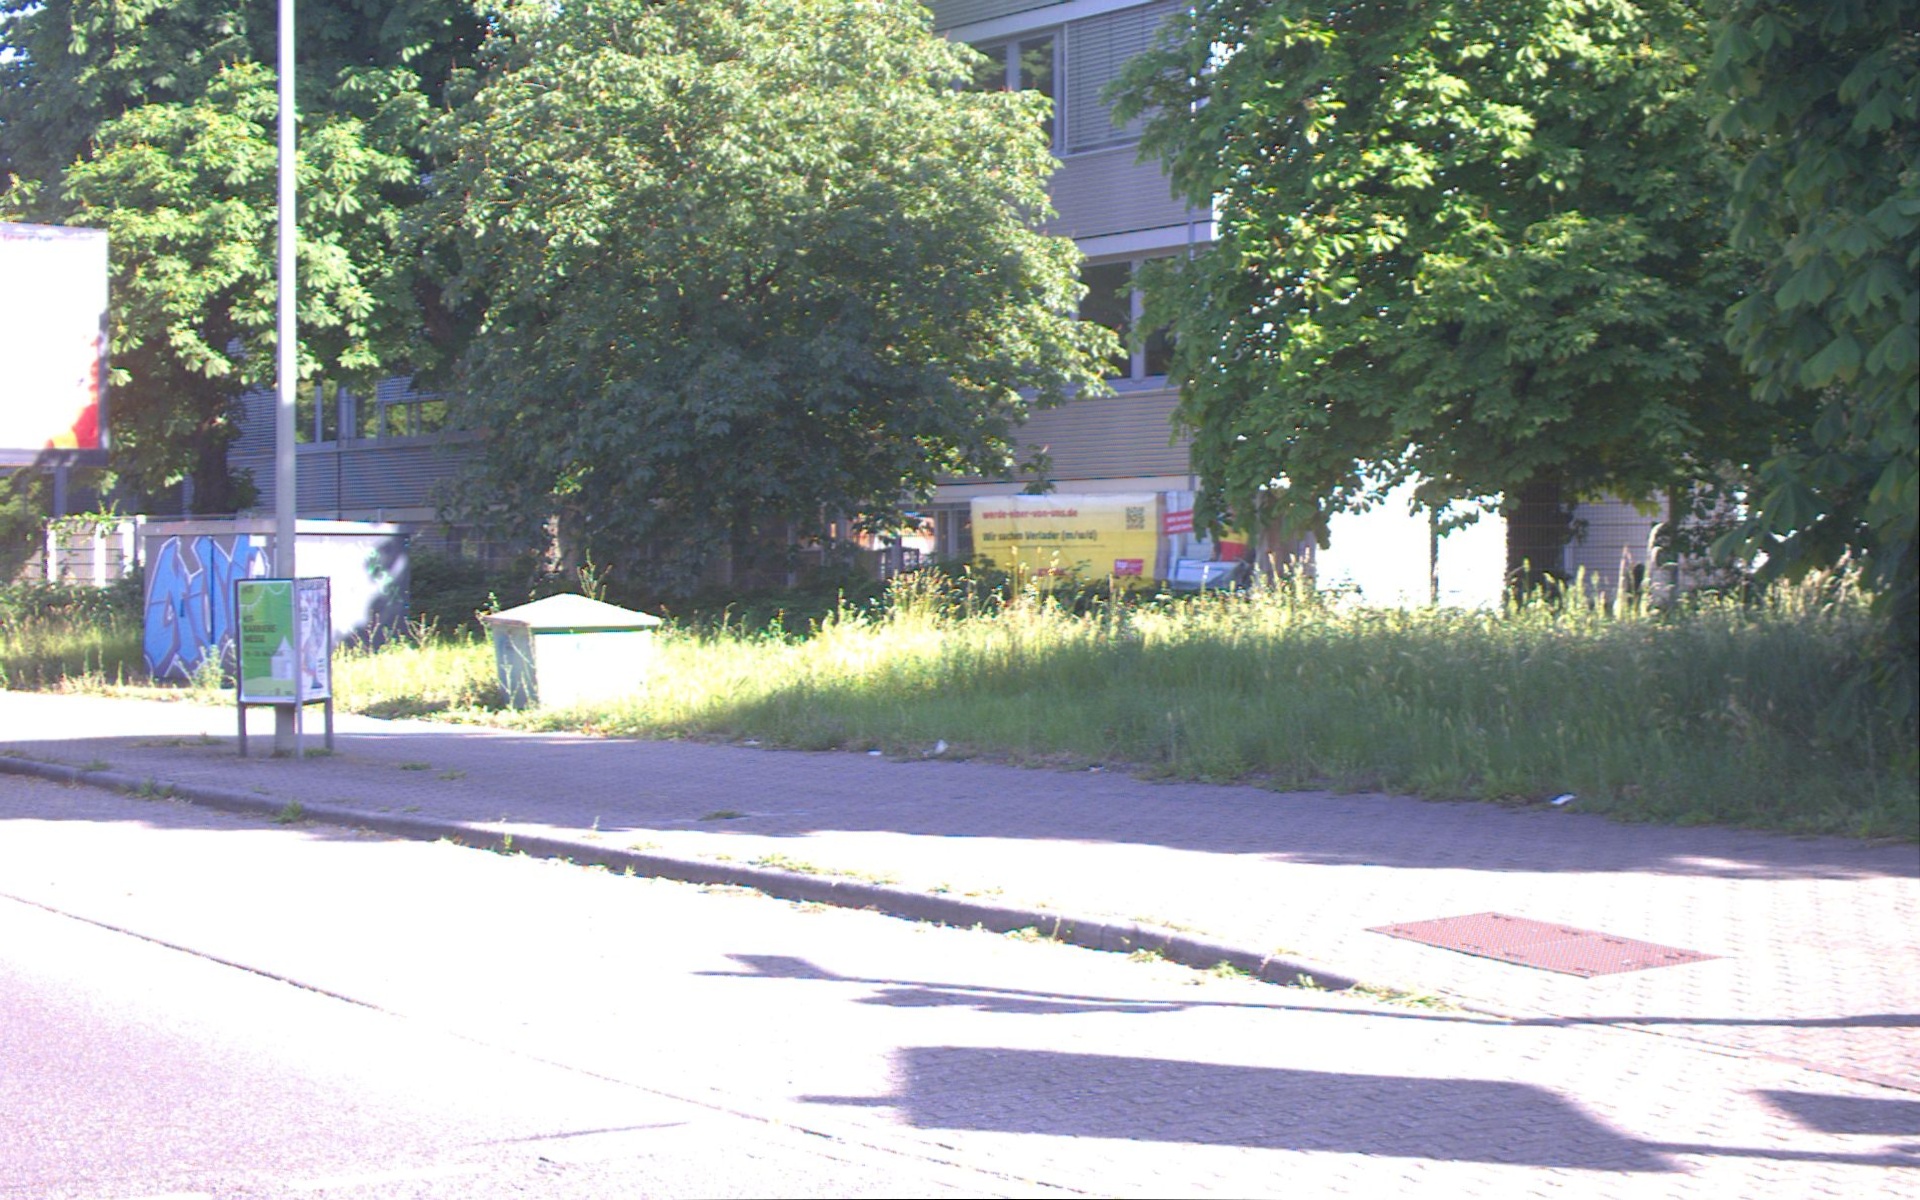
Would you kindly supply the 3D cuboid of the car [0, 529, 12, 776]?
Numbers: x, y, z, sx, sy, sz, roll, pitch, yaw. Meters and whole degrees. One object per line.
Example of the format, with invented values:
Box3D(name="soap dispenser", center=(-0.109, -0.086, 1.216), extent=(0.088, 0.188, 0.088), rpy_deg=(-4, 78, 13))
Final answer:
Box3D(name="car", center=(-8.639, 0.386, 25.371), extent=(1.873, 1.716, 4.612), rpy_deg=(-3, 2, -32))
